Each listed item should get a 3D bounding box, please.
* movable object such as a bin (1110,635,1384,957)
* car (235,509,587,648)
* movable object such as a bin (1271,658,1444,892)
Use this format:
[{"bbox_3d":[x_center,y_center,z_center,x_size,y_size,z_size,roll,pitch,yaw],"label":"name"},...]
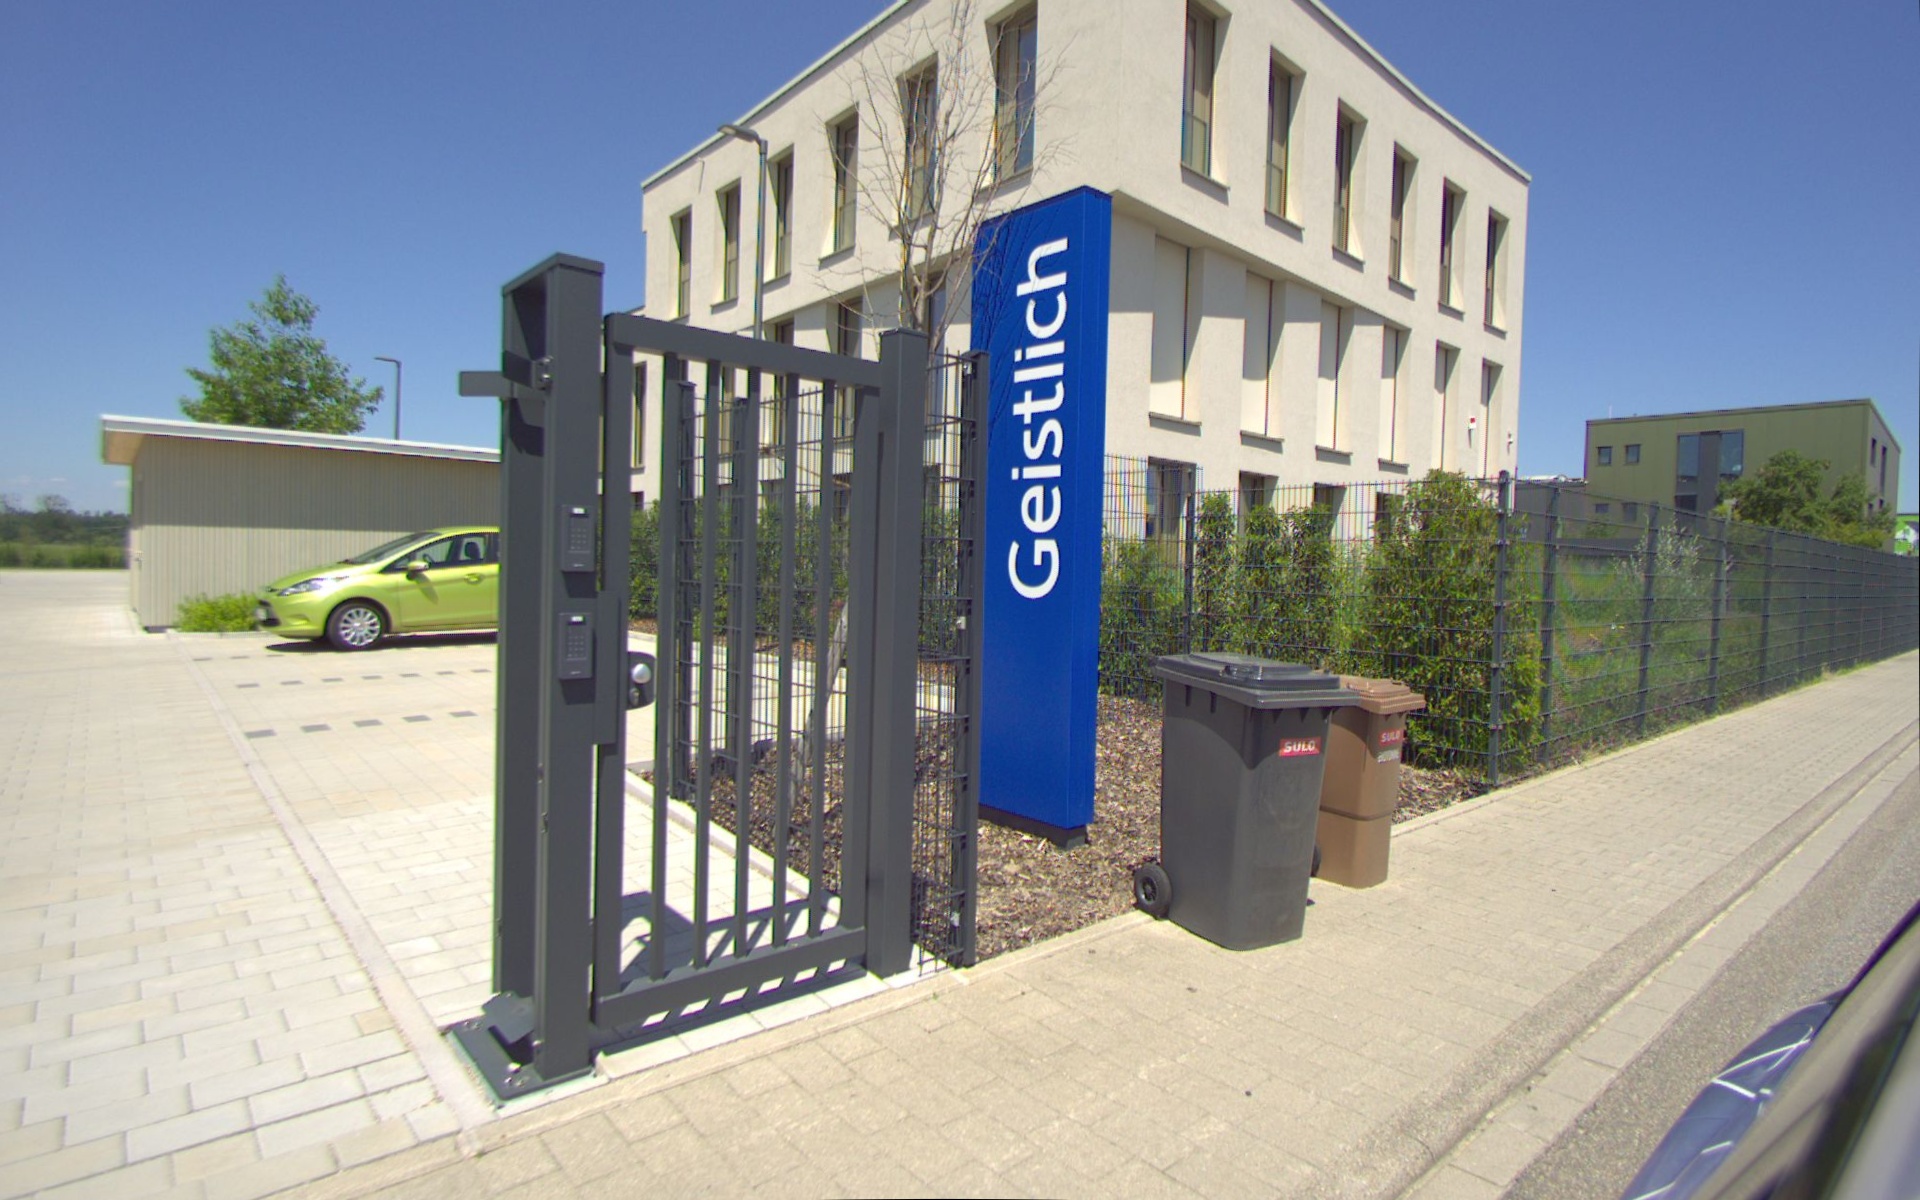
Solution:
[{"bbox_3d":[1.115,0.707,4.030,0.684,1.061,0.752,1,3,-26],"label":"movable object such as a bin"},{"bbox_3d":[-6.703,-0.272,12.581,1.610,1.482,3.544,2,2,44],"label":"car"},{"bbox_3d":[1.861,0.780,4.746,0.545,0.936,0.525,0,3,-41],"label":"movable object such as a bin"}]
